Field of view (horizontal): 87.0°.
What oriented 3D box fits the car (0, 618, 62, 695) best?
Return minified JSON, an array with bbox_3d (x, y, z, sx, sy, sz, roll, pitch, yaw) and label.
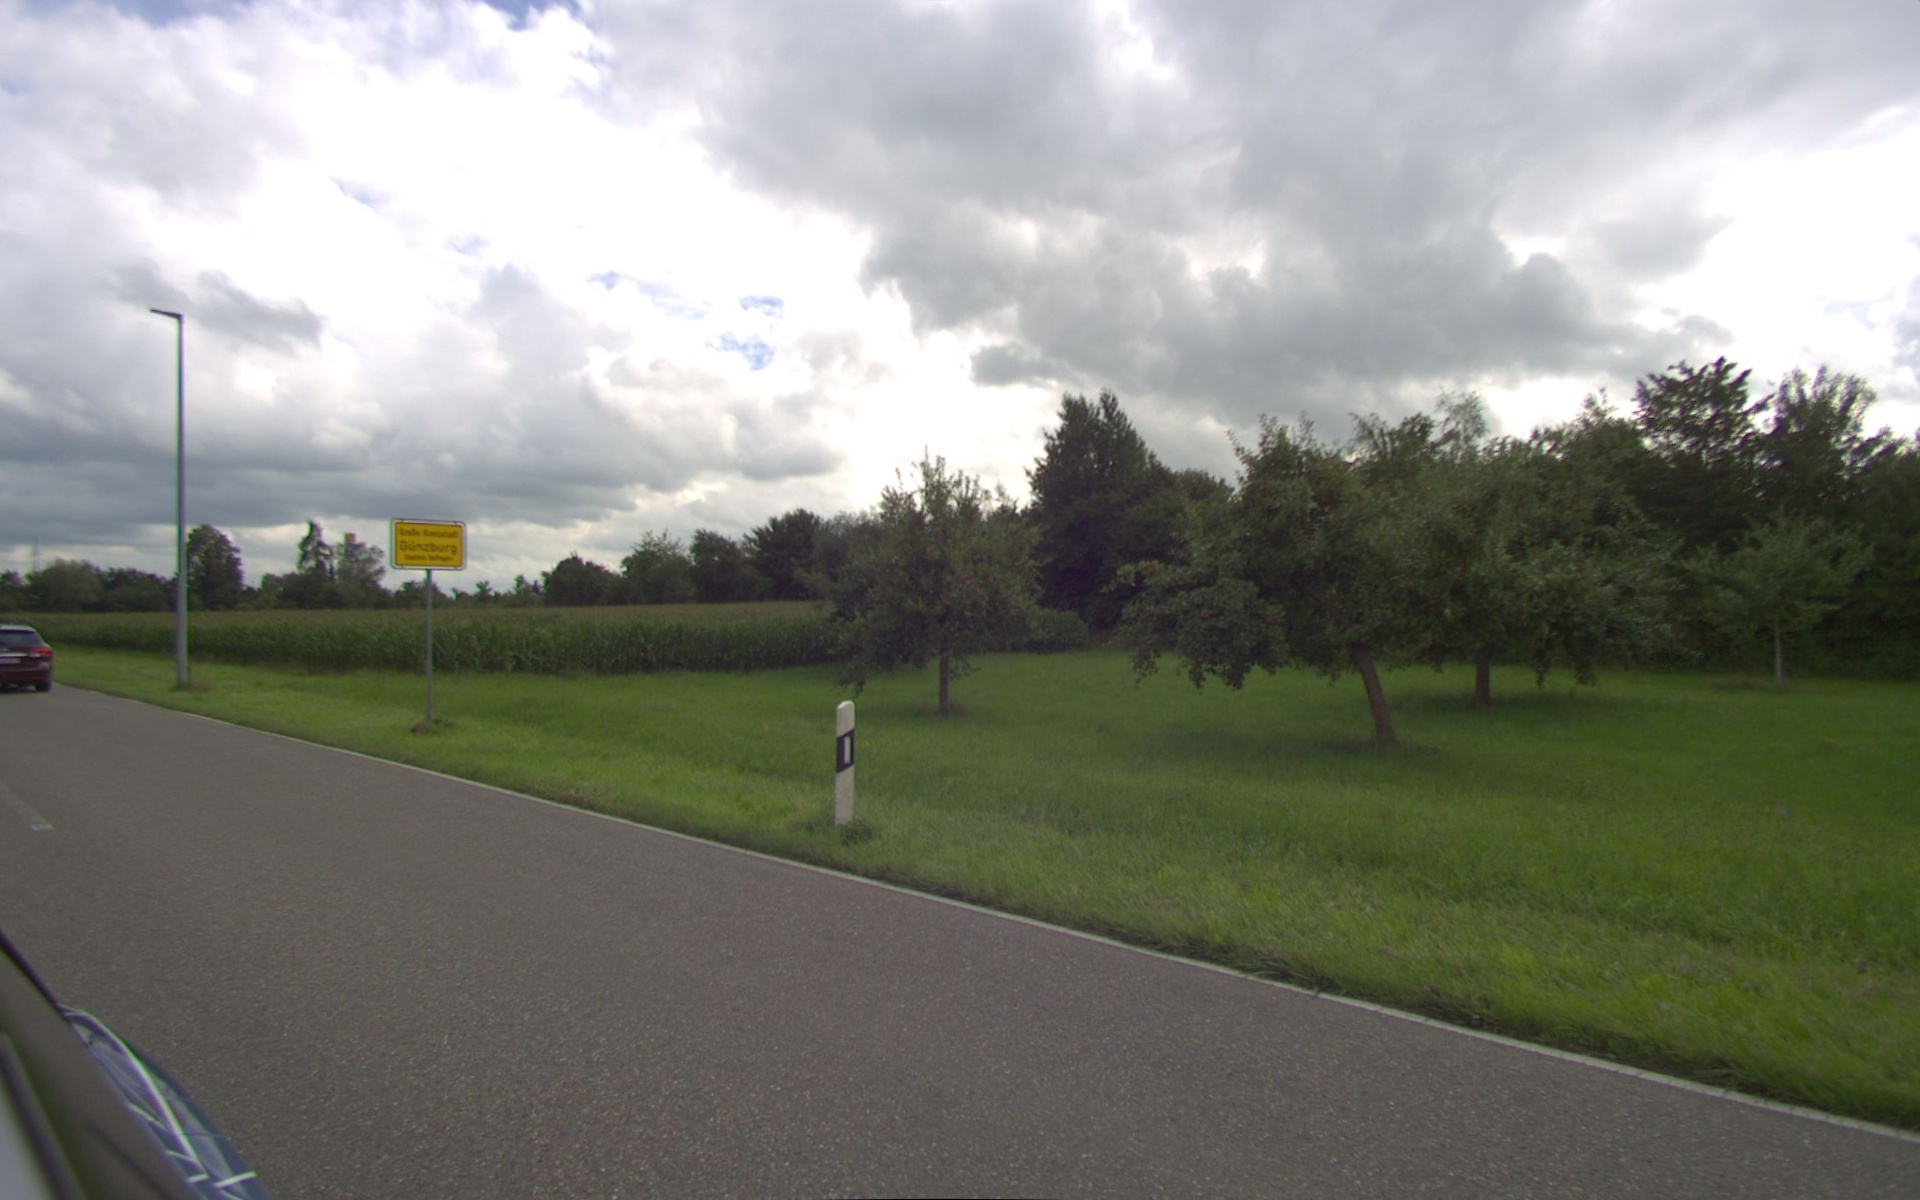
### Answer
[{"bbox_3d":[-21.089,1.174,21.961,4.180,1.564,1.844,-1,-3,41],"label":"car"}]
